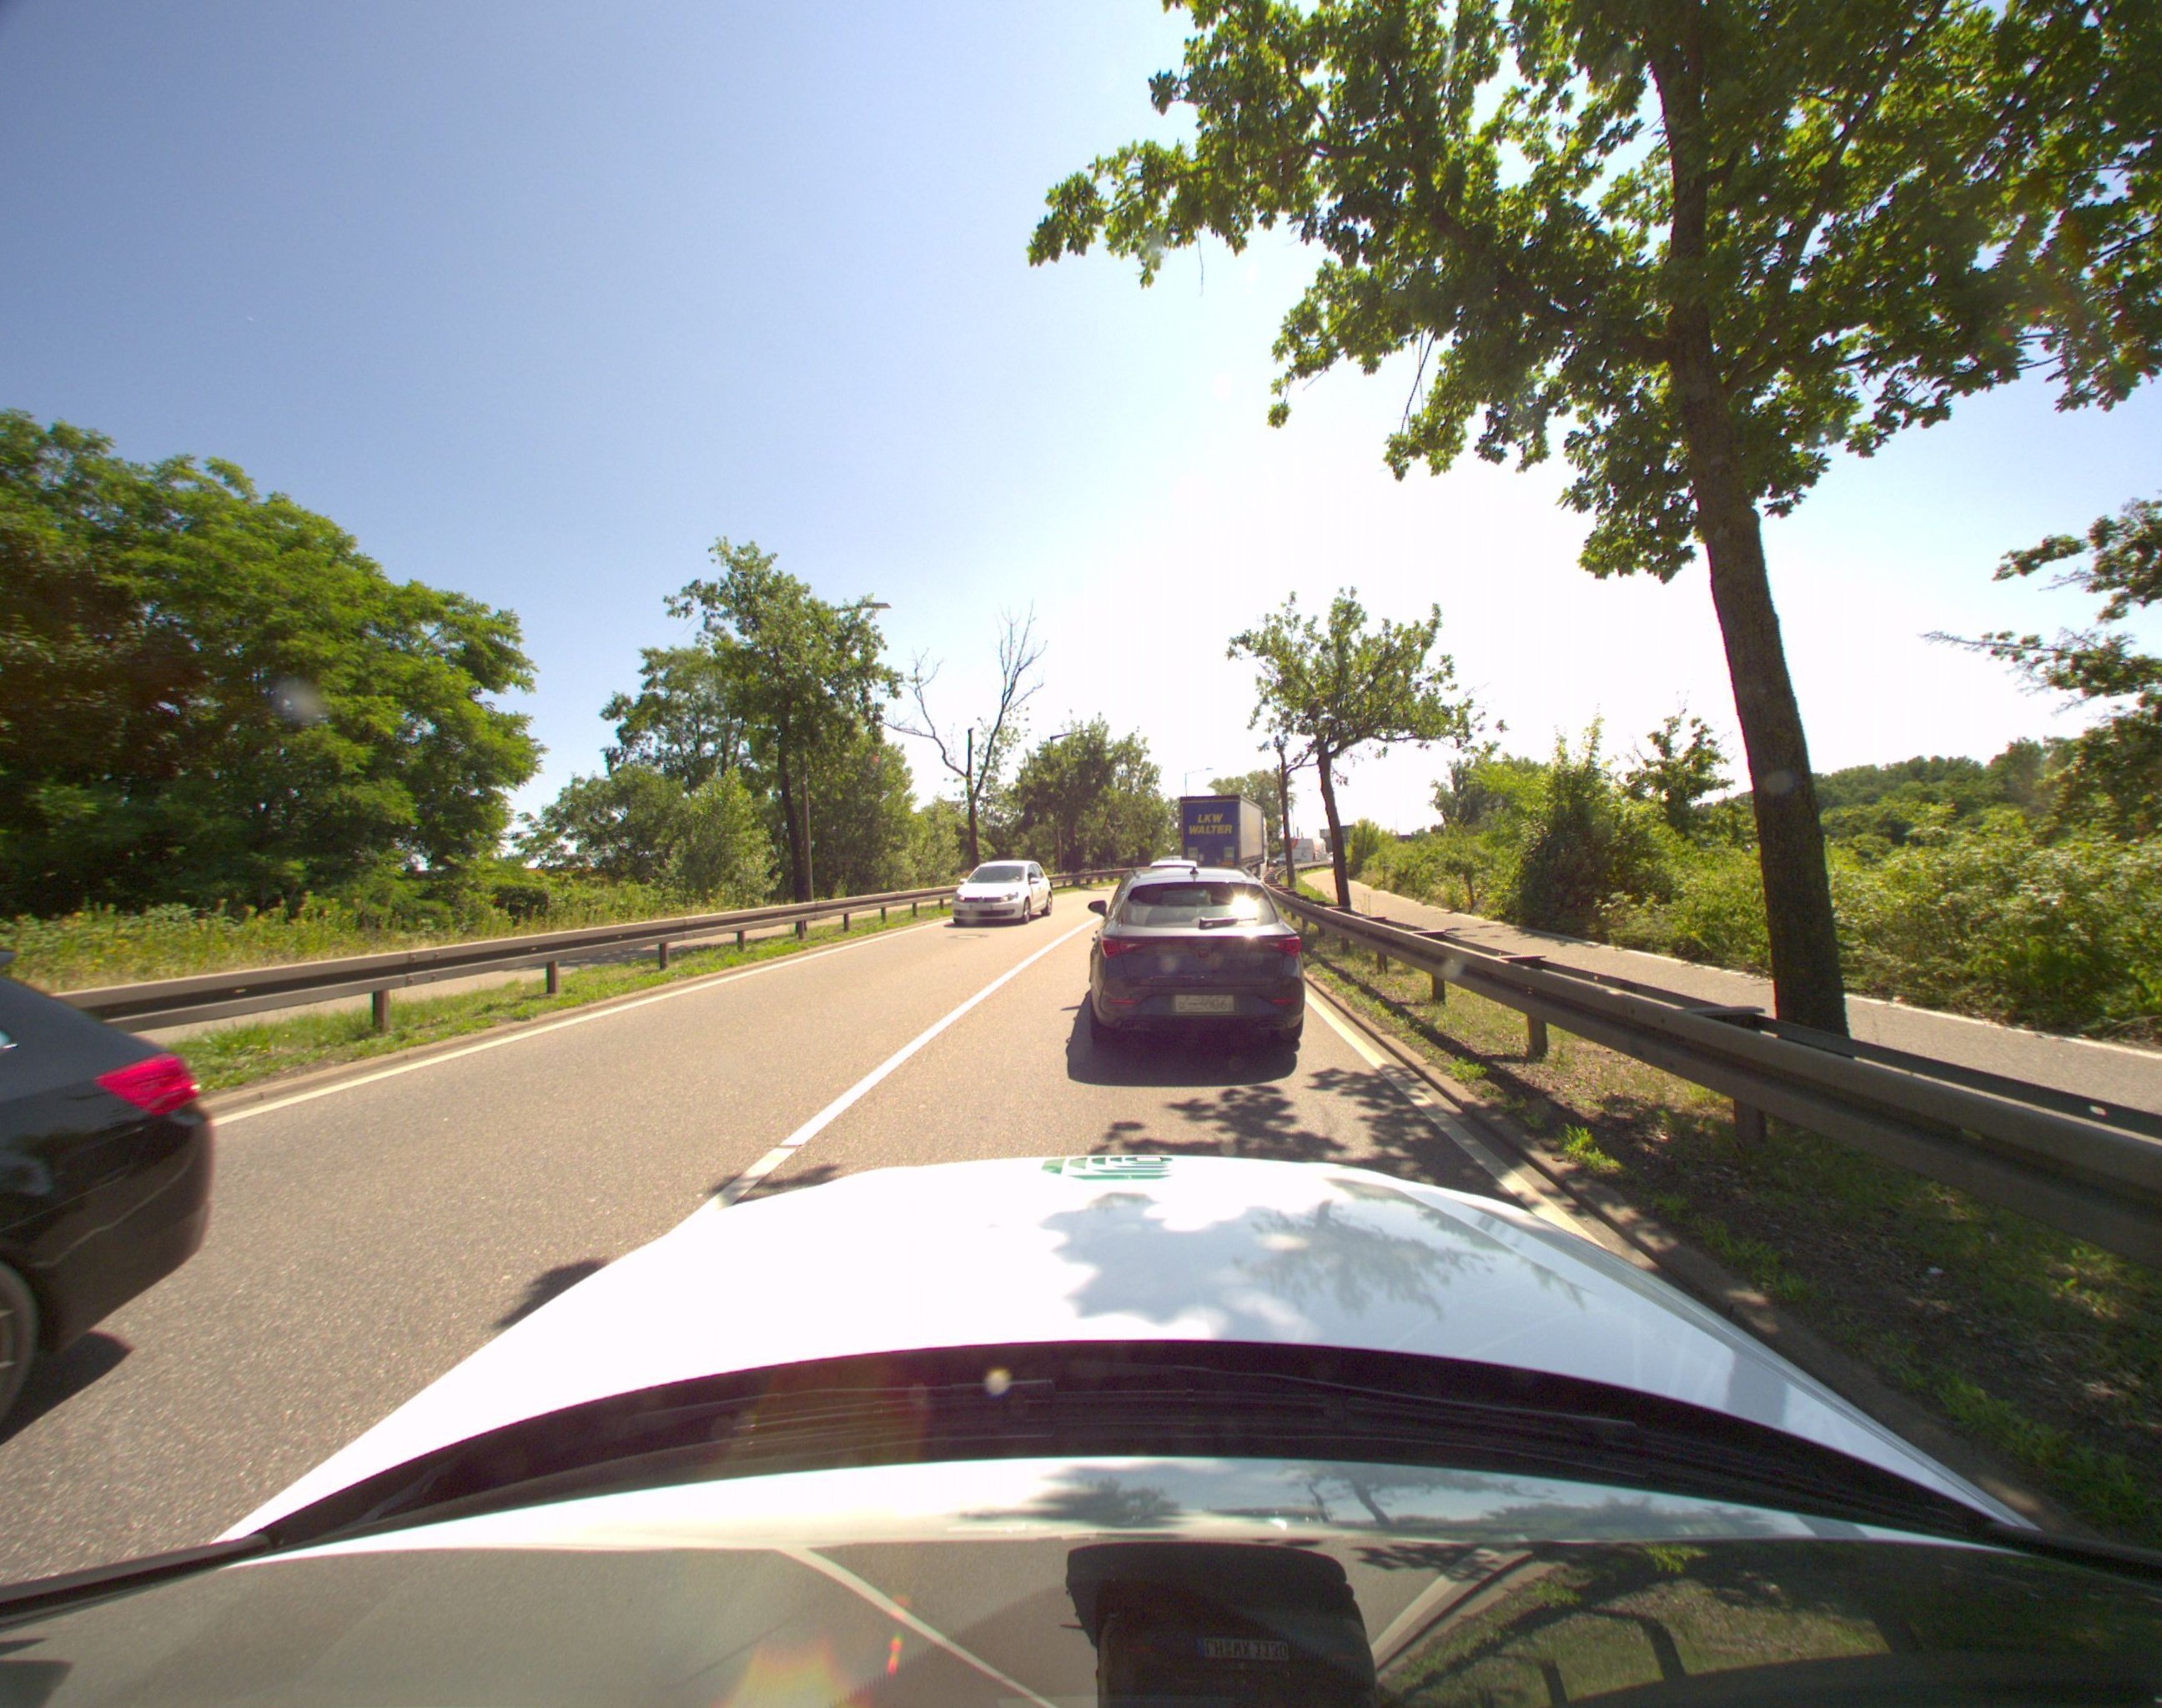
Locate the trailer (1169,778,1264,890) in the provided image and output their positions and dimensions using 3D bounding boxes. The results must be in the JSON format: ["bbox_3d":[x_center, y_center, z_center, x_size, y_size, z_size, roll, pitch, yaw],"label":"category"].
[{"bbox_3d":[7.055,-0.821,40.303,3.110,4.614,13.003,0,0,16],"label":"trailer"}]

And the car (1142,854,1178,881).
[{"bbox_3d":[4.585,0.732,46.671,1.734,1.447,4.528,-1,0,9],"label":"car"}]

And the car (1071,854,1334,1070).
[{"bbox_3d":[0.921,0.773,7.679,1.839,1.499,3.759,-1,0,2],"label":"car"}]

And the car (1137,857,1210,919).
[{"bbox_3d":[2.506,0.833,21.466,1.582,1.461,3.556,0,0,11],"label":"car"}]

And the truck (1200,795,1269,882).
[{"bbox_3d":[8.918,-0.769,46.716,3.146,4.585,7.427,-1,-1,16],"label":"truck"}]

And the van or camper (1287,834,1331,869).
[{"bbox_3d":[19.073,-0.236,67.955,2.182,2.711,5.962,-2,0,28],"label":"van or camper"}]

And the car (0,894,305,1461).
[{"bbox_3d":[-3.689,0.830,0.488,1.869,1.380,4.672,0,0,2],"label":"car"}]

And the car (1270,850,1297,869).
[{"bbox_3d":[18.955,0.515,76.136,1.731,1.728,3.749,-1,0,25],"label":"car"}]

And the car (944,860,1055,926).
[{"bbox_3d":[-1.904,0.896,20.248,1.714,1.438,4.034,0,0,9],"label":"car"}]
